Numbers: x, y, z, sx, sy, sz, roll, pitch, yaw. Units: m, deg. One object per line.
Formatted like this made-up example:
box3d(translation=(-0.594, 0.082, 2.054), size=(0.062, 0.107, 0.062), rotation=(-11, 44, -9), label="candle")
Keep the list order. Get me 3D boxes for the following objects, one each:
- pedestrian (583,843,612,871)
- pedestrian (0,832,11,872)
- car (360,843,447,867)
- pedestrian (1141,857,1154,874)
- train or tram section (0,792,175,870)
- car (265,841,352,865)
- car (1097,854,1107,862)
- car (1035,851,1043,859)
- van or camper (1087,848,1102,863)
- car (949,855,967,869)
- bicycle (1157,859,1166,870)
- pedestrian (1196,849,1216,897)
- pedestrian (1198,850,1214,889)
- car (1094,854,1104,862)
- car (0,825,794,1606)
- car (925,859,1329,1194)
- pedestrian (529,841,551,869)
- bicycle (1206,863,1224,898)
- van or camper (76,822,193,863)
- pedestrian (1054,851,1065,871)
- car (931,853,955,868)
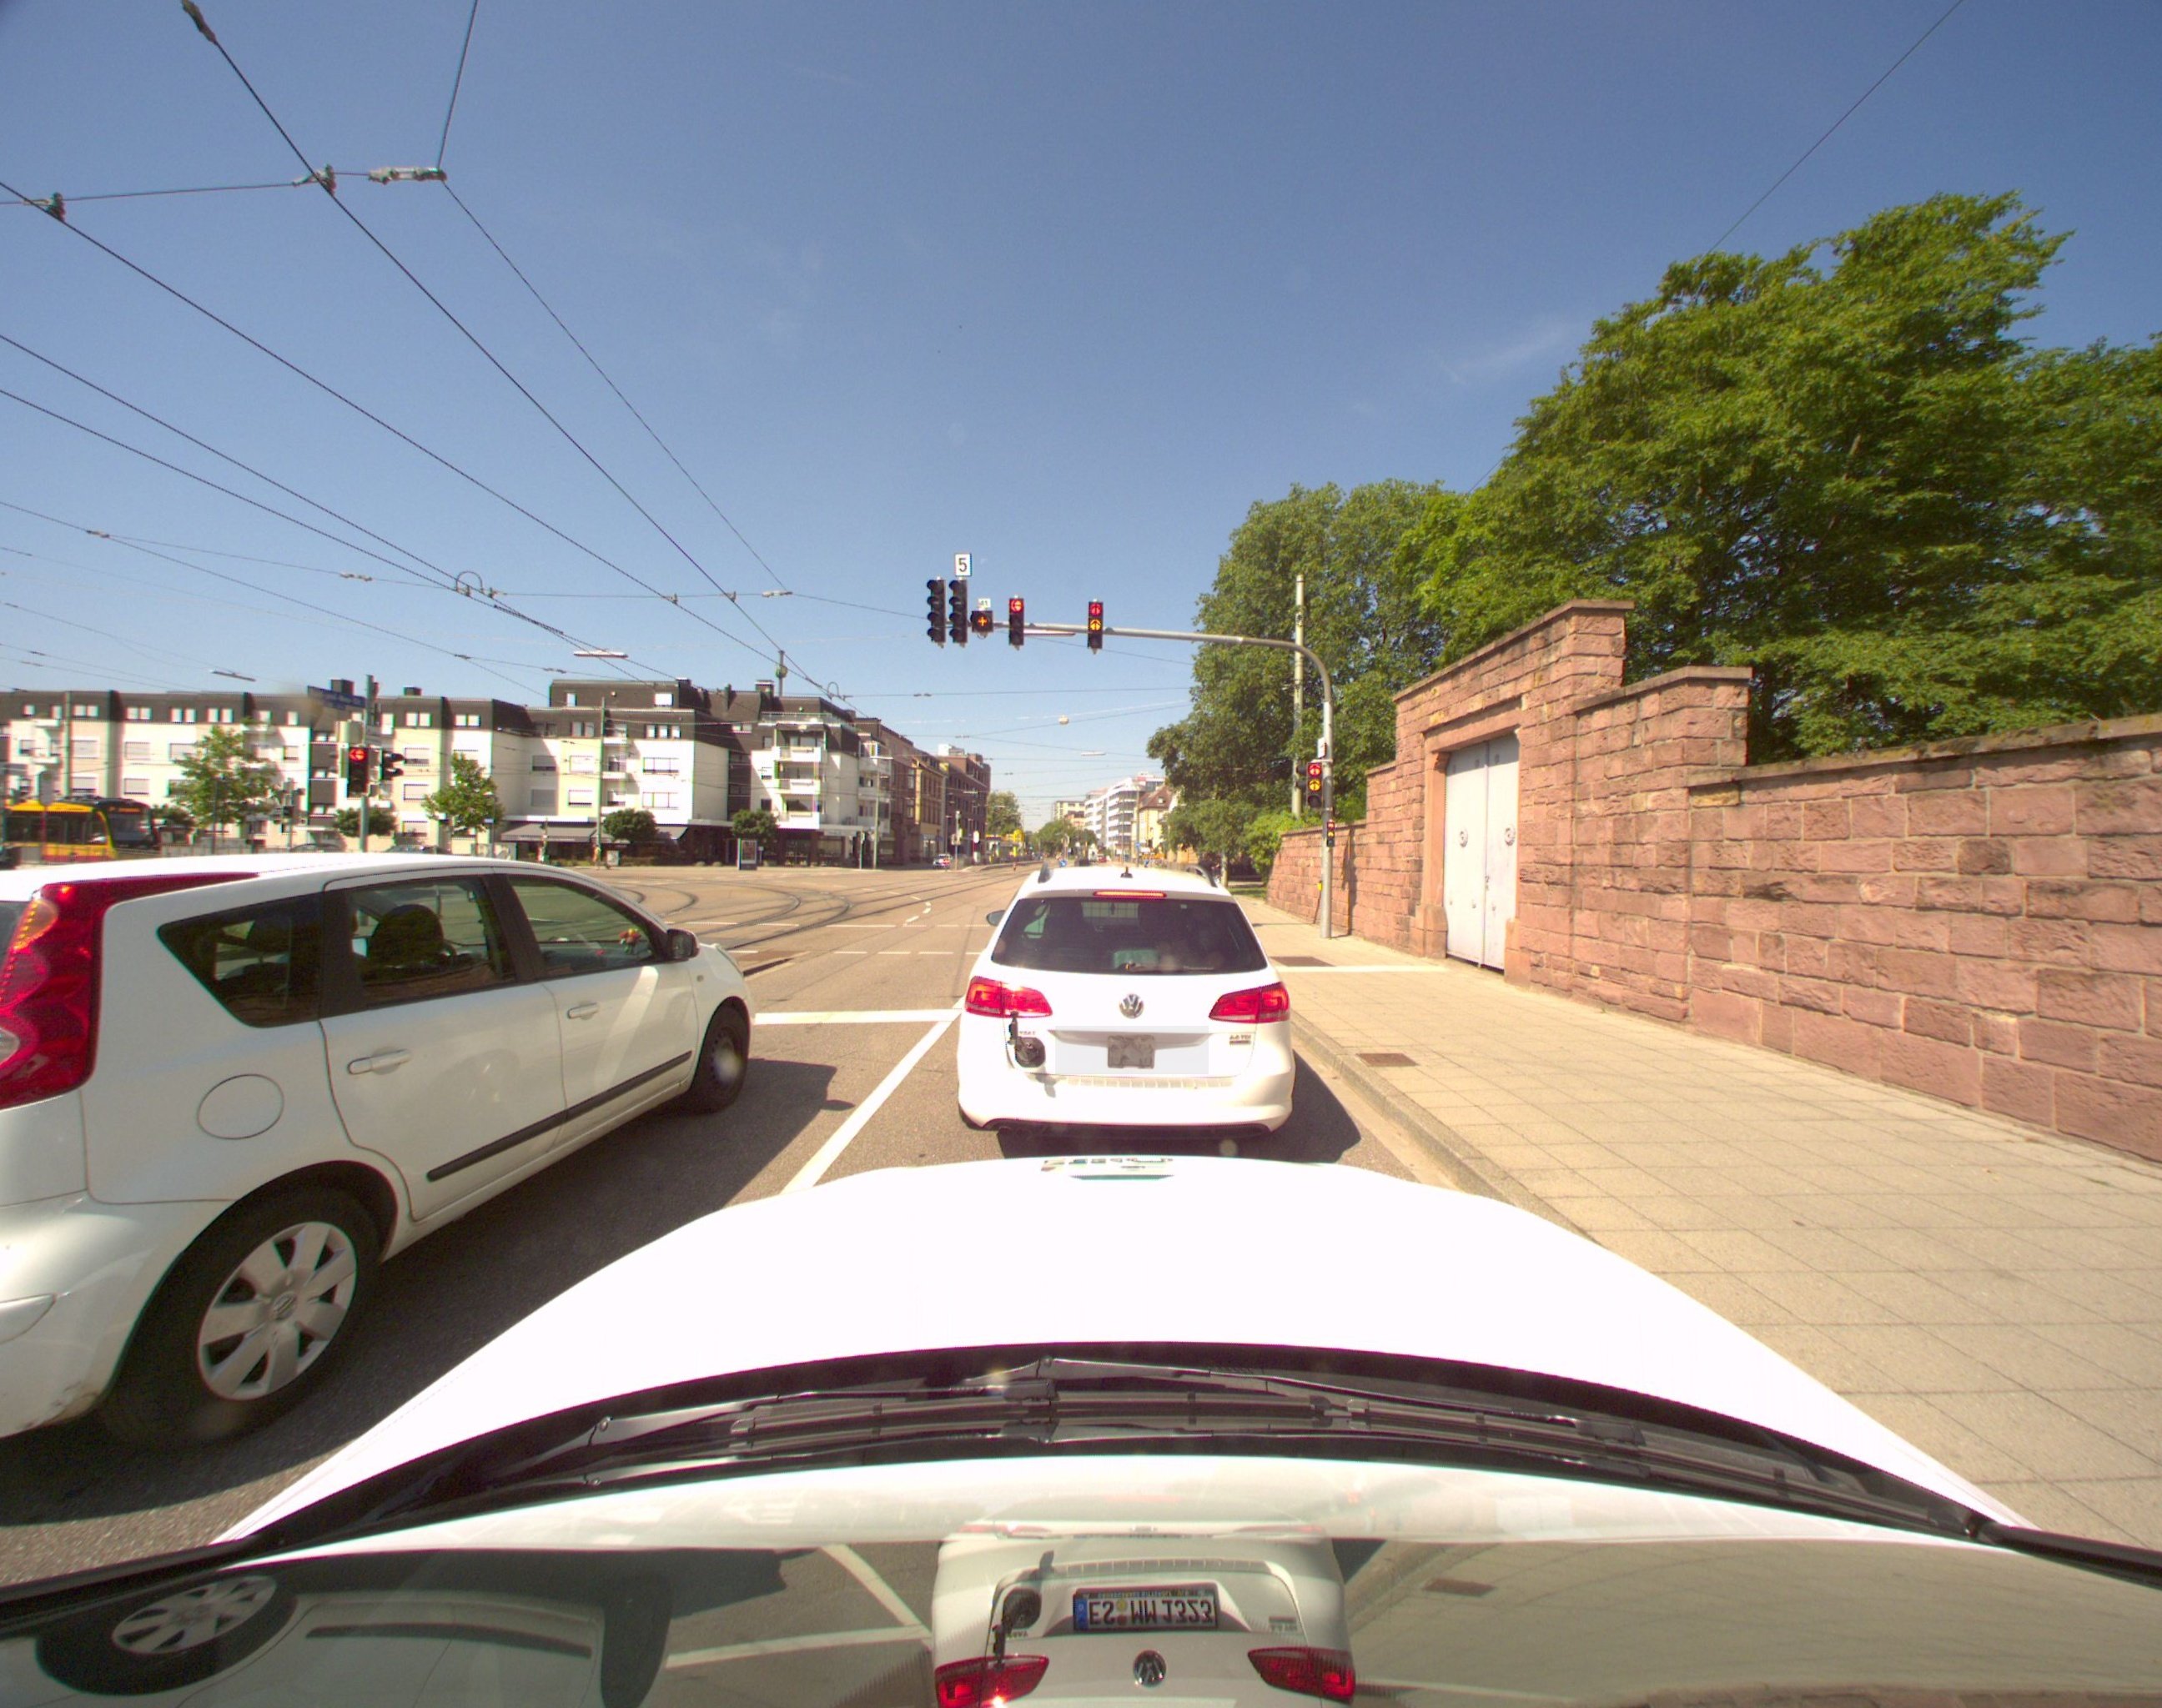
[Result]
box3d(translation=(-32.773, 0.203, 55.194), size=(1.109, 1.836, 1.447), rotation=(0, 0, 43), label="pedestrian")
box3d(translation=(-50.570, -0.096, 37.571), size=(1.193, 1.837, 0.897), rotation=(1, 0, 1), label="pedestrian")
box3d(translation=(-44.937, 0.071, 54.075), size=(4.158, 1.500, 1.828), rotation=(1, 0, 0), label="car")
box3d(translation=(6.059, 1.014, 74.043), size=(0.848, 1.510, 0.786), rotation=(0, -1, 41), label="pedestrian")
box3d(translation=(-53.598, -1.163, 40.584), size=(13.814, 3.658, 2.769), rotation=(1, 0, 1), label="train or tram section")
box3d(translation=(-51.120, -0.075, 53.921), size=(3.973, 1.500, 1.828), rotation=(1, 0, 0), label="car")
box3d(translation=(5.035, 0.909, 192.551), size=(1.989, 2.013, 3.996), rotation=(1, 0, -3), label="car")
box3d(translation=(-11.210, 0.303, 218.109), size=(1.987, 2.014, 3.999), rotation=(0, -1, 0), label="car")
box3d(translation=(2.742, 0.332, 173.354), size=(2.935, 3.180, 6.610), rotation=(1, 0, -1), label="van or camper")
box3d(translation=(-13.364, 0.813, 88.623), size=(1.568, 1.459, 3.811), rotation=(1, 0, -2), label="car")
box3d(translation=(8.908, 1.144, 90.221), size=(0.720, 1.139, 2.203), rotation=(1, 0, 14), label="bicycle")
box3d(translation=(4.128, 0.632, 26.855), size=(0.538, 1.549, 0.663), rotation=(-1, 0, 1), label="pedestrian")
box3d(translation=(5.412, 0.663, 35.230), size=(0.646, 1.682, 0.709), rotation=(1, 0, 8), label="pedestrian")
box3d(translation=(4.392, 0.921, 197.975), size=(1.989, 2.013, 3.996), rotation=(1, 0, -3), label="car")
box3d(translation=(-2.955, 0.731, 3.679), size=(1.759, 1.561, 4.068), rotation=(0, 0, 2), label="car")
box3d(translation=(0.264, 0.762, 5.489), size=(1.746, 1.418, 3.854), rotation=(1, 0, 2), label="car")
box3d(translation=(-34.639, 0.081, 52.135), size=(0.757, 1.760, 0.813), rotation=(1, 0, 6), label="pedestrian")
box3d(translation=(4.402, 0.845, 26.760), size=(0.532, 1.111, 1.812), rotation=(0, -1, 11), label="bicycle")
box3d(translation=(-62.654, -0.748, 53.997), size=(4.859, 2.624, 2.376), rotation=(1, 0, 0), label="van or camper")
box3d(translation=(-1.970, 0.647, 73.645), size=(0.827, 1.809, 0.830), rotation=(1, 0, -11), label="pedestrian")
box3d(translation=(-13.698, 0.643, 80.873), size=(1.620, 1.431, 3.962), rotation=(2, 0, 0), label="car")
